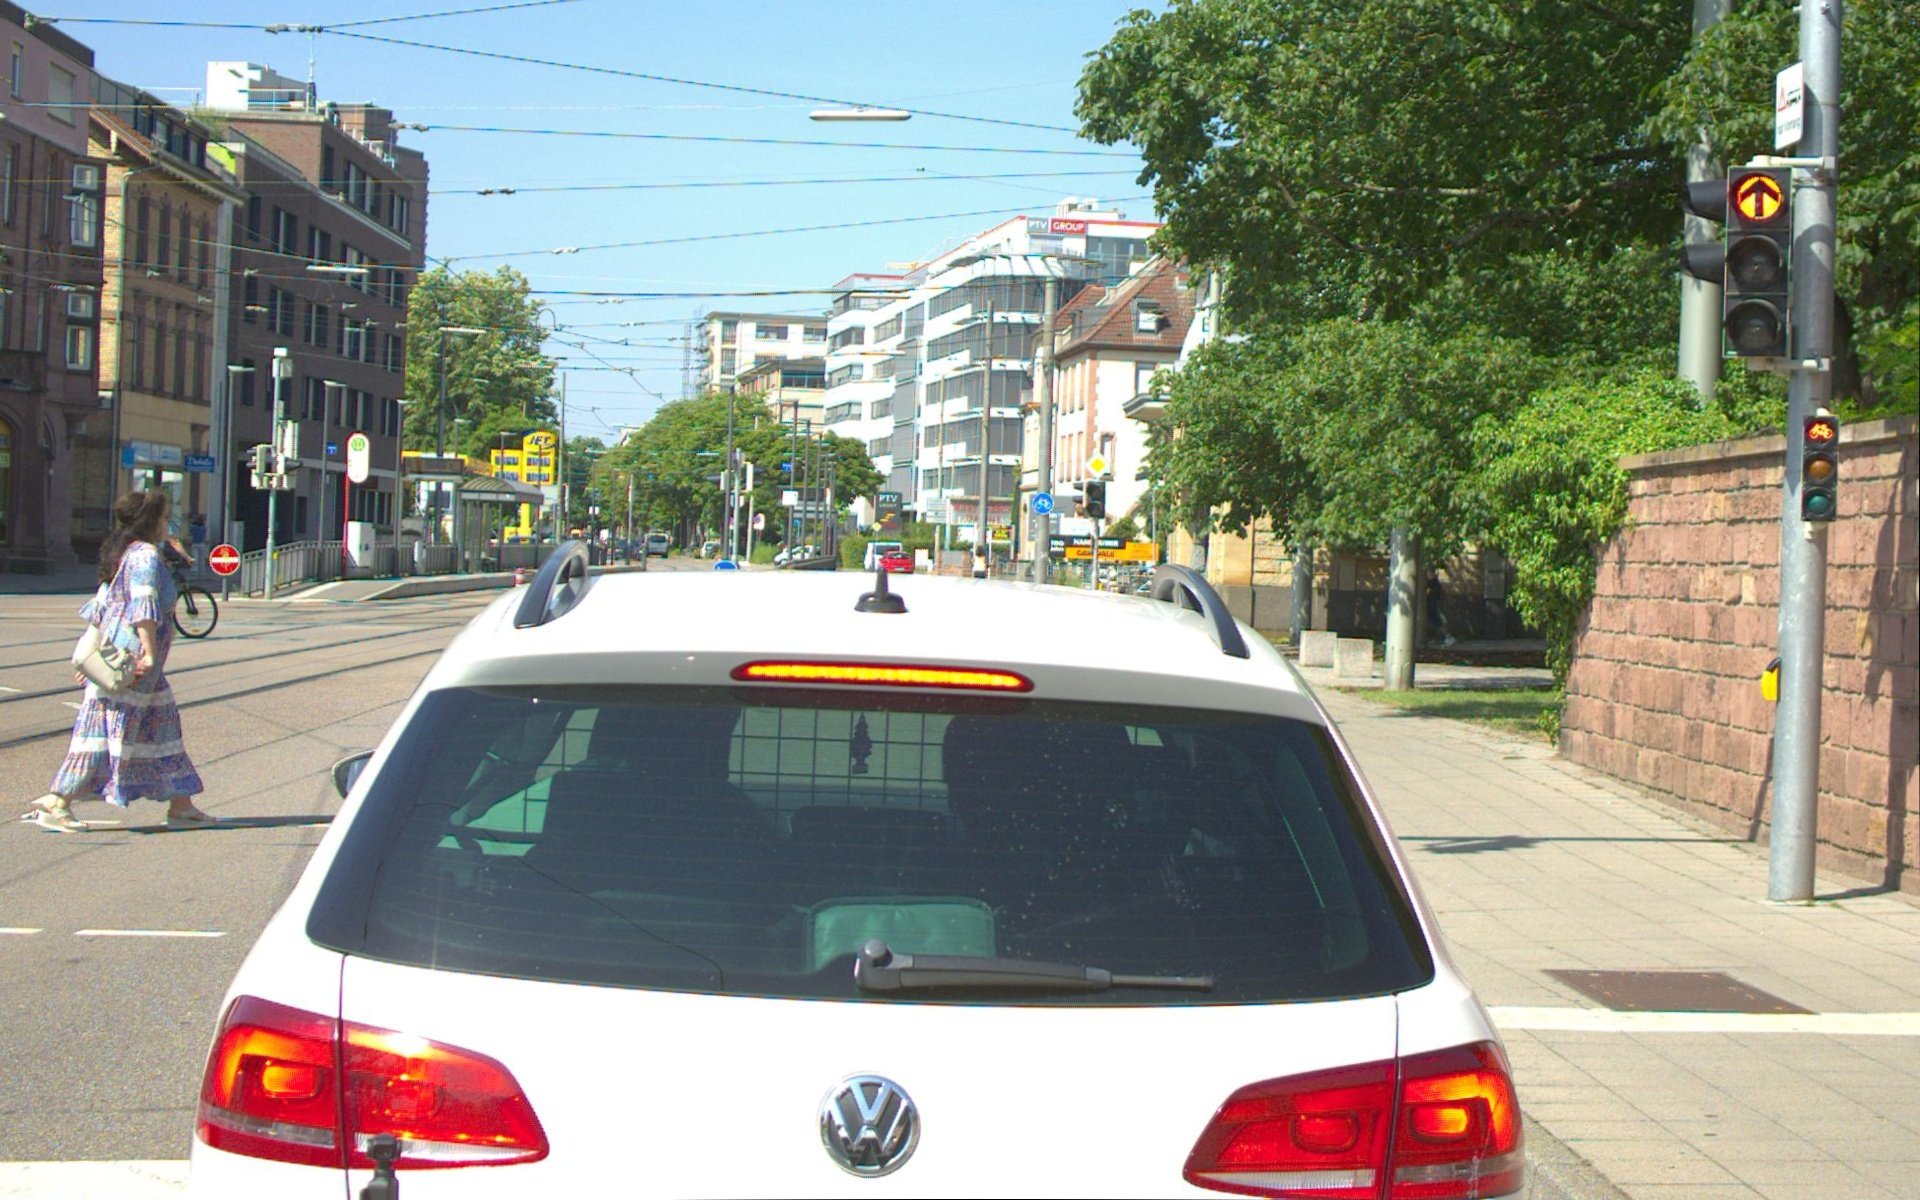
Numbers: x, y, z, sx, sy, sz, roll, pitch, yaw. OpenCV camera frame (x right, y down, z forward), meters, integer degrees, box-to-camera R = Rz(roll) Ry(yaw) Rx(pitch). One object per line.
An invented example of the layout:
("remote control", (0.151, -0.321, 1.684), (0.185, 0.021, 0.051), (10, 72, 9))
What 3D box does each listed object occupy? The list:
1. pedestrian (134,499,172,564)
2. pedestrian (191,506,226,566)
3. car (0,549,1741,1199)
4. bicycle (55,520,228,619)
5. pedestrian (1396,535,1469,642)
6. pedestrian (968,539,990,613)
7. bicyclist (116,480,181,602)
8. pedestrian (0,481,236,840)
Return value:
("pedestrian", (-21.915, -1.845, 93.383), (0.861, 1.737, 0.975), (0, 0, -6))
("pedestrian", (-21.740, -1.849, 99.463), (0.861, 1.737, 0.975), (0, 0, -6))
("car", (-0.136, 0.673, 5.595), (1.808, 1.443, 4.000), (2, 1, -1))
("bicycle", (-10.816, -0.394, 45.513), (2.243, 1.293, 0.559), (0, 0, -43))
("pedestrian", (7.820, -0.190, 56.856), (0.973, 1.737, 0.863), (0, 0, 26))
("pedestrian", (0.605, -0.756, 108.334), (0.690, 2.317, 1.232), (0, 0, 1))
("bicyclist", (-10.755, -0.775, 45.572), (0.636, 1.607, 0.562), (0, 0, -43))
("pedestrian", (-4.021, 0.277, 16.377), (0.971, 1.645, 0.956), (0, 0, -21))
